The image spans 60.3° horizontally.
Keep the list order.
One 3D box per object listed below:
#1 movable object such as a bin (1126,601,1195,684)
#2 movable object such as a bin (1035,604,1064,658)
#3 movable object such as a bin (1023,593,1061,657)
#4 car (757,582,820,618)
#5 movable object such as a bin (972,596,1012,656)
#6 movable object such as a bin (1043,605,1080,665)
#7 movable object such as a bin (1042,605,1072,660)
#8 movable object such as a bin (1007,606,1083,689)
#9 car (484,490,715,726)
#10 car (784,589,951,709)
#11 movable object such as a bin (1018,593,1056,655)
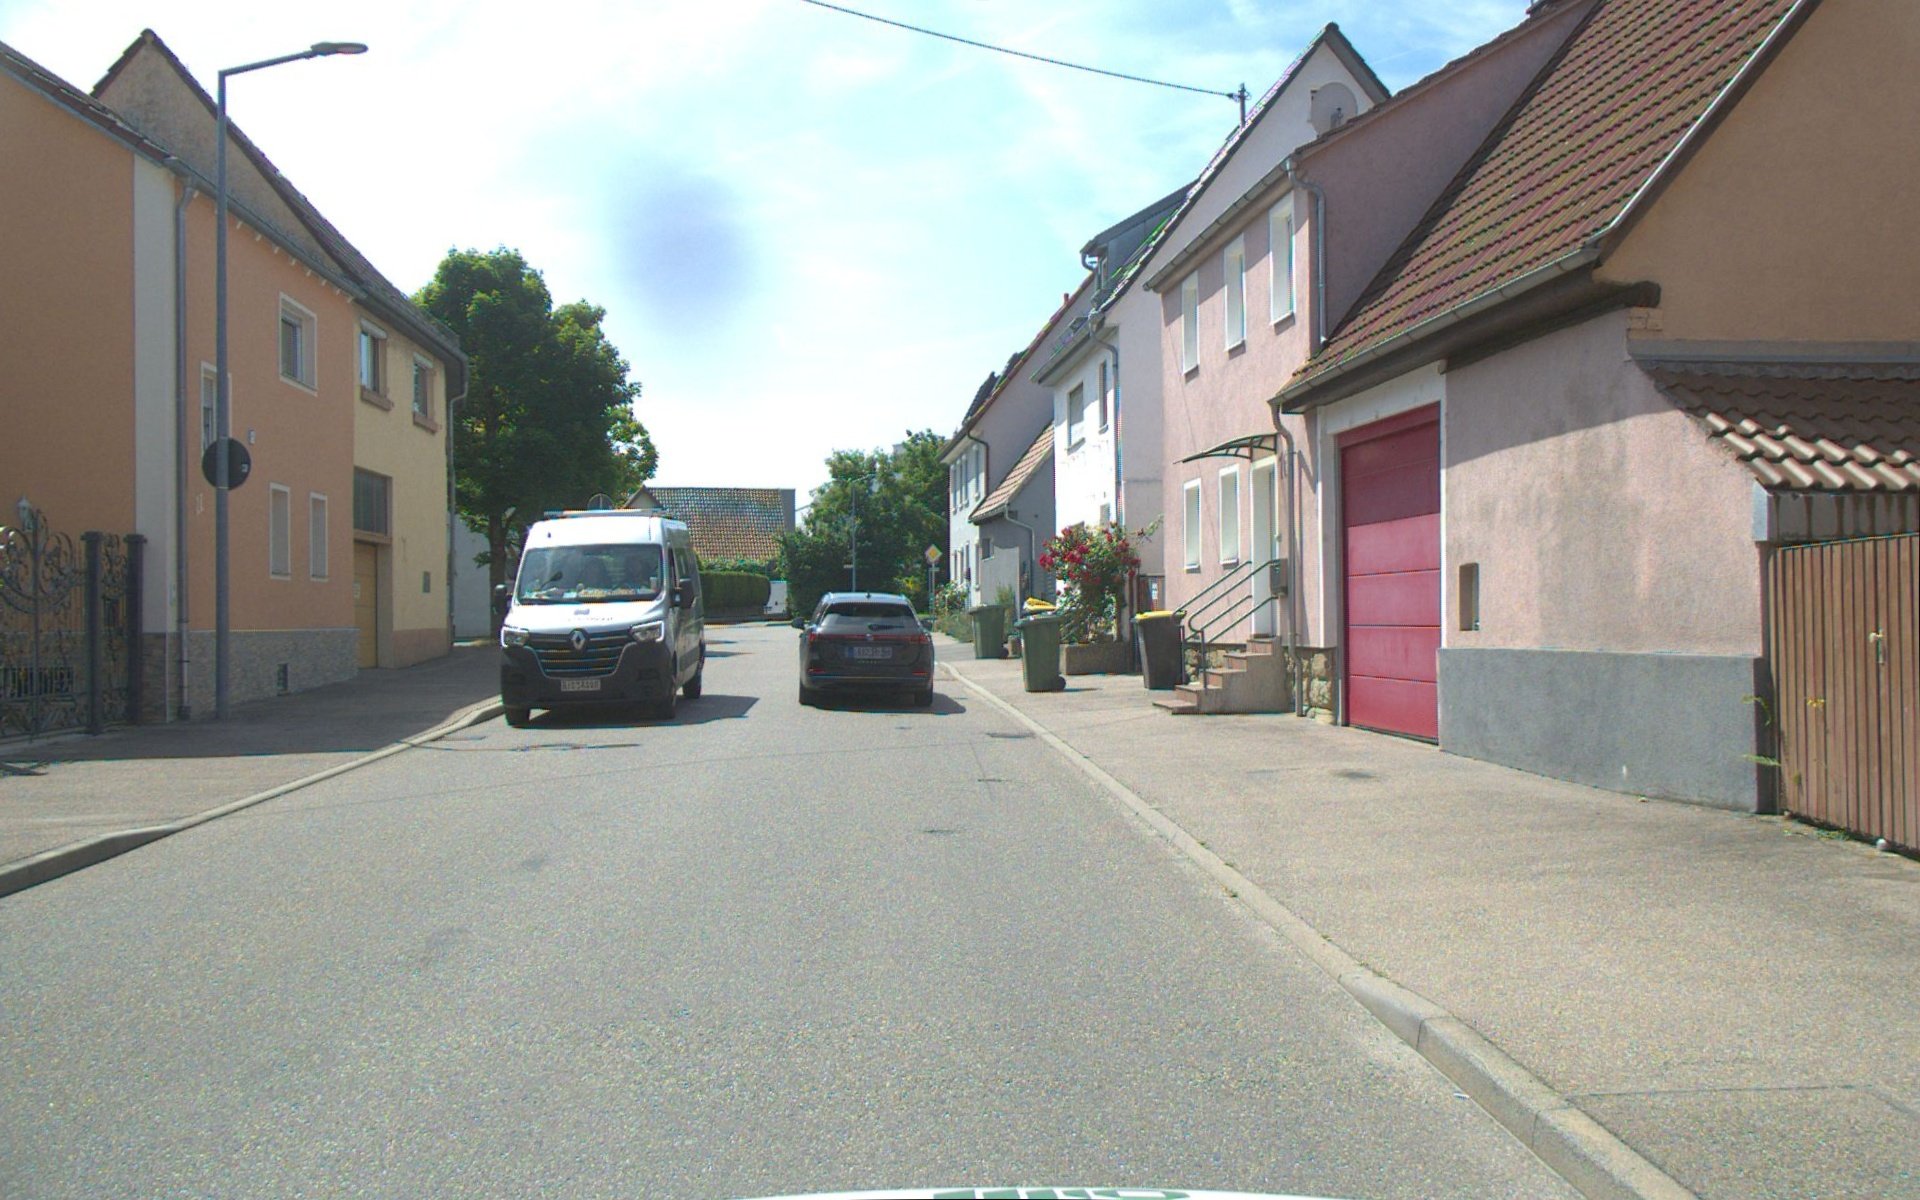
[{"bbox_3d":[2.788,0.585,23.018,0.666,1.068,0.833,-5,1,-9],"label":"movable object such as a bin"},{"bbox_3d":[1.702,0.591,31.475,0.494,1.011,0.441,-1,0,-6],"label":"movable object such as a bin"},{"bbox_3d":[1.580,0.476,32.002,0.652,1.215,0.587,-1,0,-6],"label":"movable object such as a bin"},{"bbox_3d":[-10.142,-0.012,98.249,2.082,2.049,4.942,-1,1,15],"label":"car"},{"bbox_3d":[0.642,0.515,33.180,0.666,1.175,0.818,0,0,-9],"label":"movable object such as a bin"},{"bbox_3d":[1.828,0.618,29.792,0.580,1.058,0.530,-1,0,-6],"label":"movable object such as a bin"},{"bbox_3d":[1.805,0.598,30.811,0.494,1.011,0.441,-1,0,-6],"label":"movable object such as a bin"},{"bbox_3d":[1.230,0.680,24.079,0.860,1.093,0.871,-5,1,-10],"label":"movable object such as a bin"},{"bbox_3d":[-4.487,0.057,21.545,2.073,2.607,5.822,-1,1,-4],"label":"car"},{"bbox_3d":[-1.391,0.603,22.922,1.807,1.445,4.672,1,0,-9],"label":"car"},{"bbox_3d":[1.531,0.469,32.920,0.652,1.215,0.659,-1,0,-6],"label":"movable object such as a bin"}]
